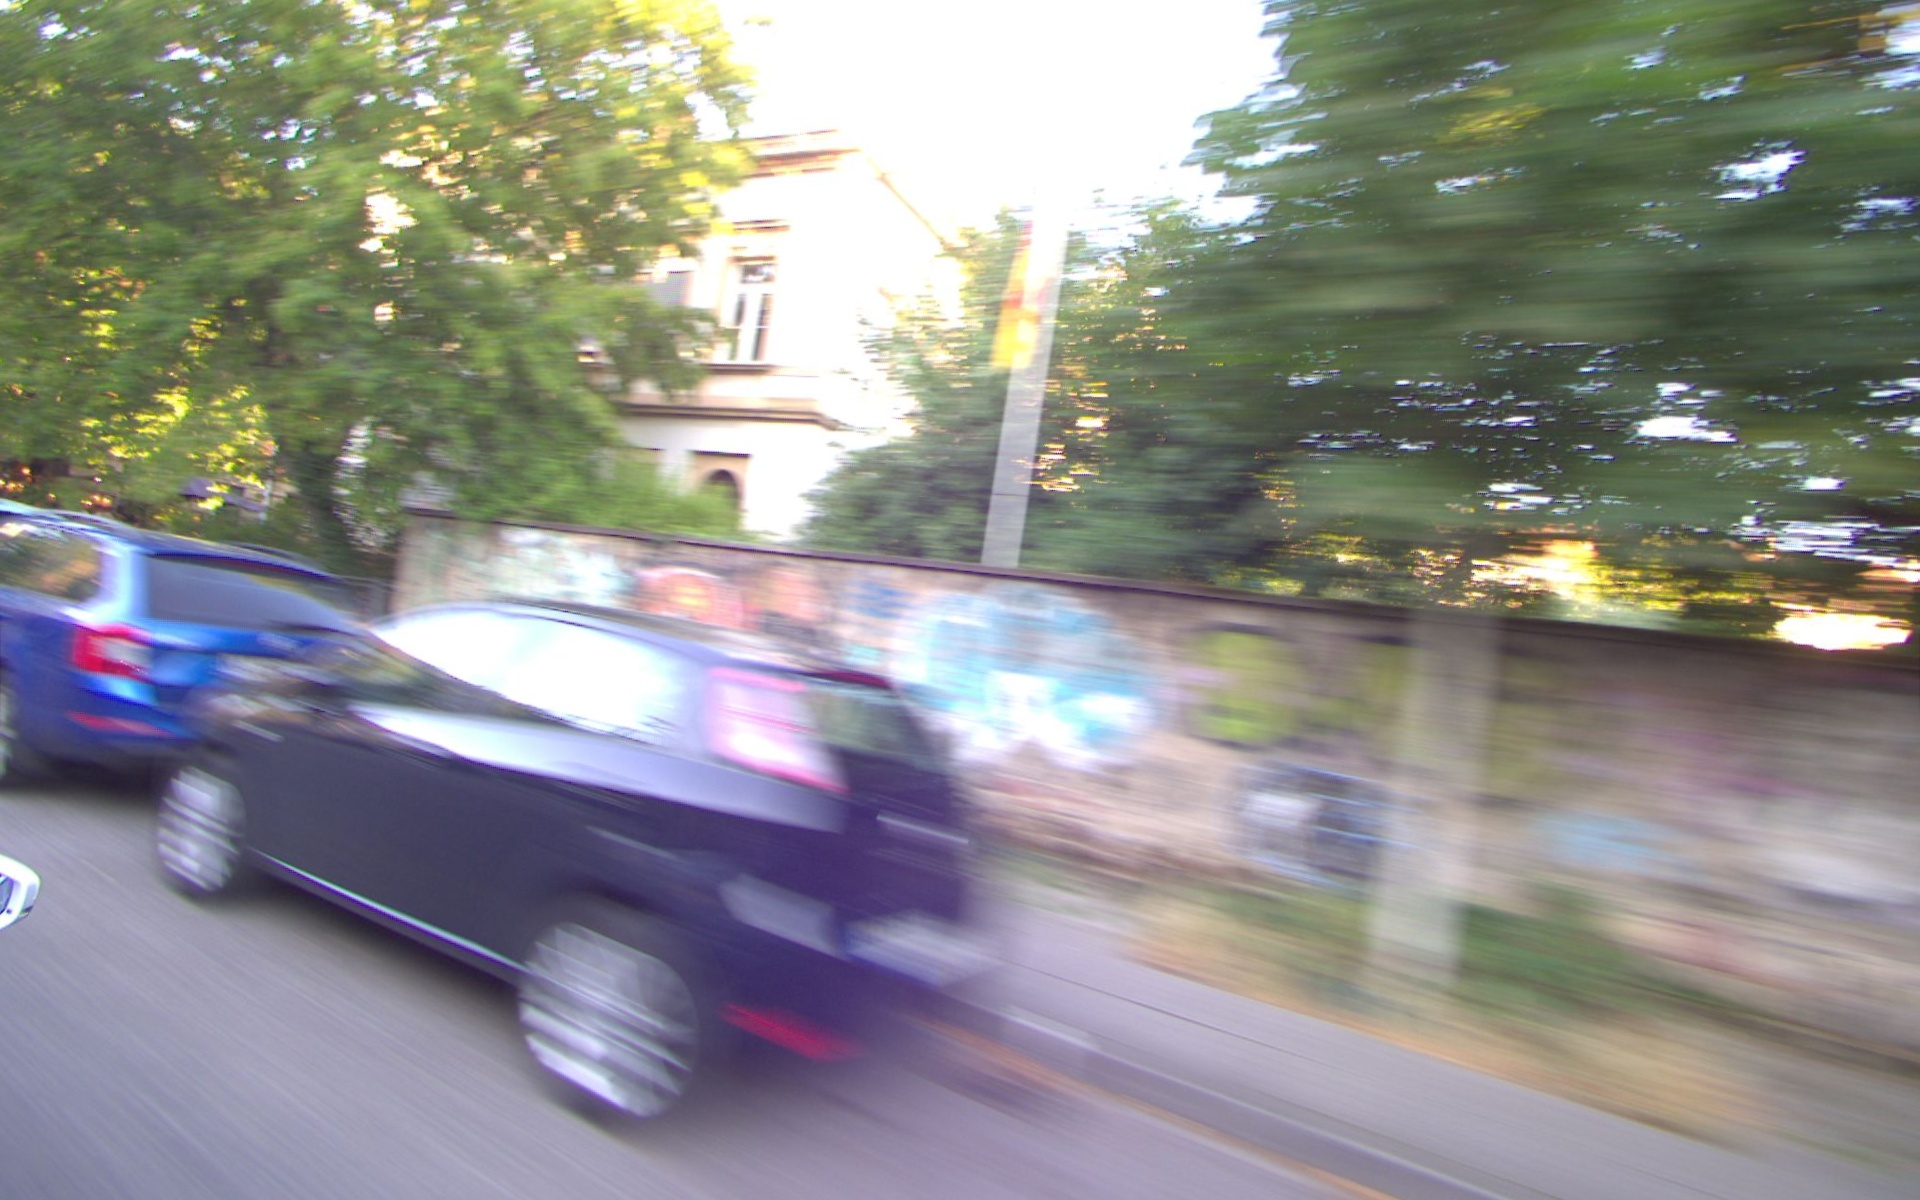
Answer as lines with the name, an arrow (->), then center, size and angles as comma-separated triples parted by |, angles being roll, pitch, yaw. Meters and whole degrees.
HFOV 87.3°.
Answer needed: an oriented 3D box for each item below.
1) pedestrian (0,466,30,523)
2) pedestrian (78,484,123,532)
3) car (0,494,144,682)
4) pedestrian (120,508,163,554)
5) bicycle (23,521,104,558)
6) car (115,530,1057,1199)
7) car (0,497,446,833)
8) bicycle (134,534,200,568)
pedestrian -> -33.398, -3.709, 35.168 | 0.827, 1.824, 0.777 | 9, -1, 17
pedestrian -> -30.768, -3.282, 36.027 | 0.747, 1.497, 0.776 | 9, -2, 21
car -> -9.372, -0.302, 9.117 | 3.498, 1.493, 1.701 | 7, -3, 28
pedestrian -> -30.325, -2.546, 37.275 | 0.747, 1.497, 0.776 | 9, -2, 21
bicycle -> -29.767, -1.986, 33.439 | 0.393, 0.894, 1.977 | 9, -3, 18
car -> -1.695, 0.718, 4.224 | 3.711, 1.493, 1.601 | 7, -3, 32
car -> -5.369, 0.231, 6.419 | 4.048, 1.493, 1.700 | 7, -3, 32
bicycle -> -28.639, -1.753, 36.378 | 0.393, 0.894, 1.883 | 9, -3, 18
